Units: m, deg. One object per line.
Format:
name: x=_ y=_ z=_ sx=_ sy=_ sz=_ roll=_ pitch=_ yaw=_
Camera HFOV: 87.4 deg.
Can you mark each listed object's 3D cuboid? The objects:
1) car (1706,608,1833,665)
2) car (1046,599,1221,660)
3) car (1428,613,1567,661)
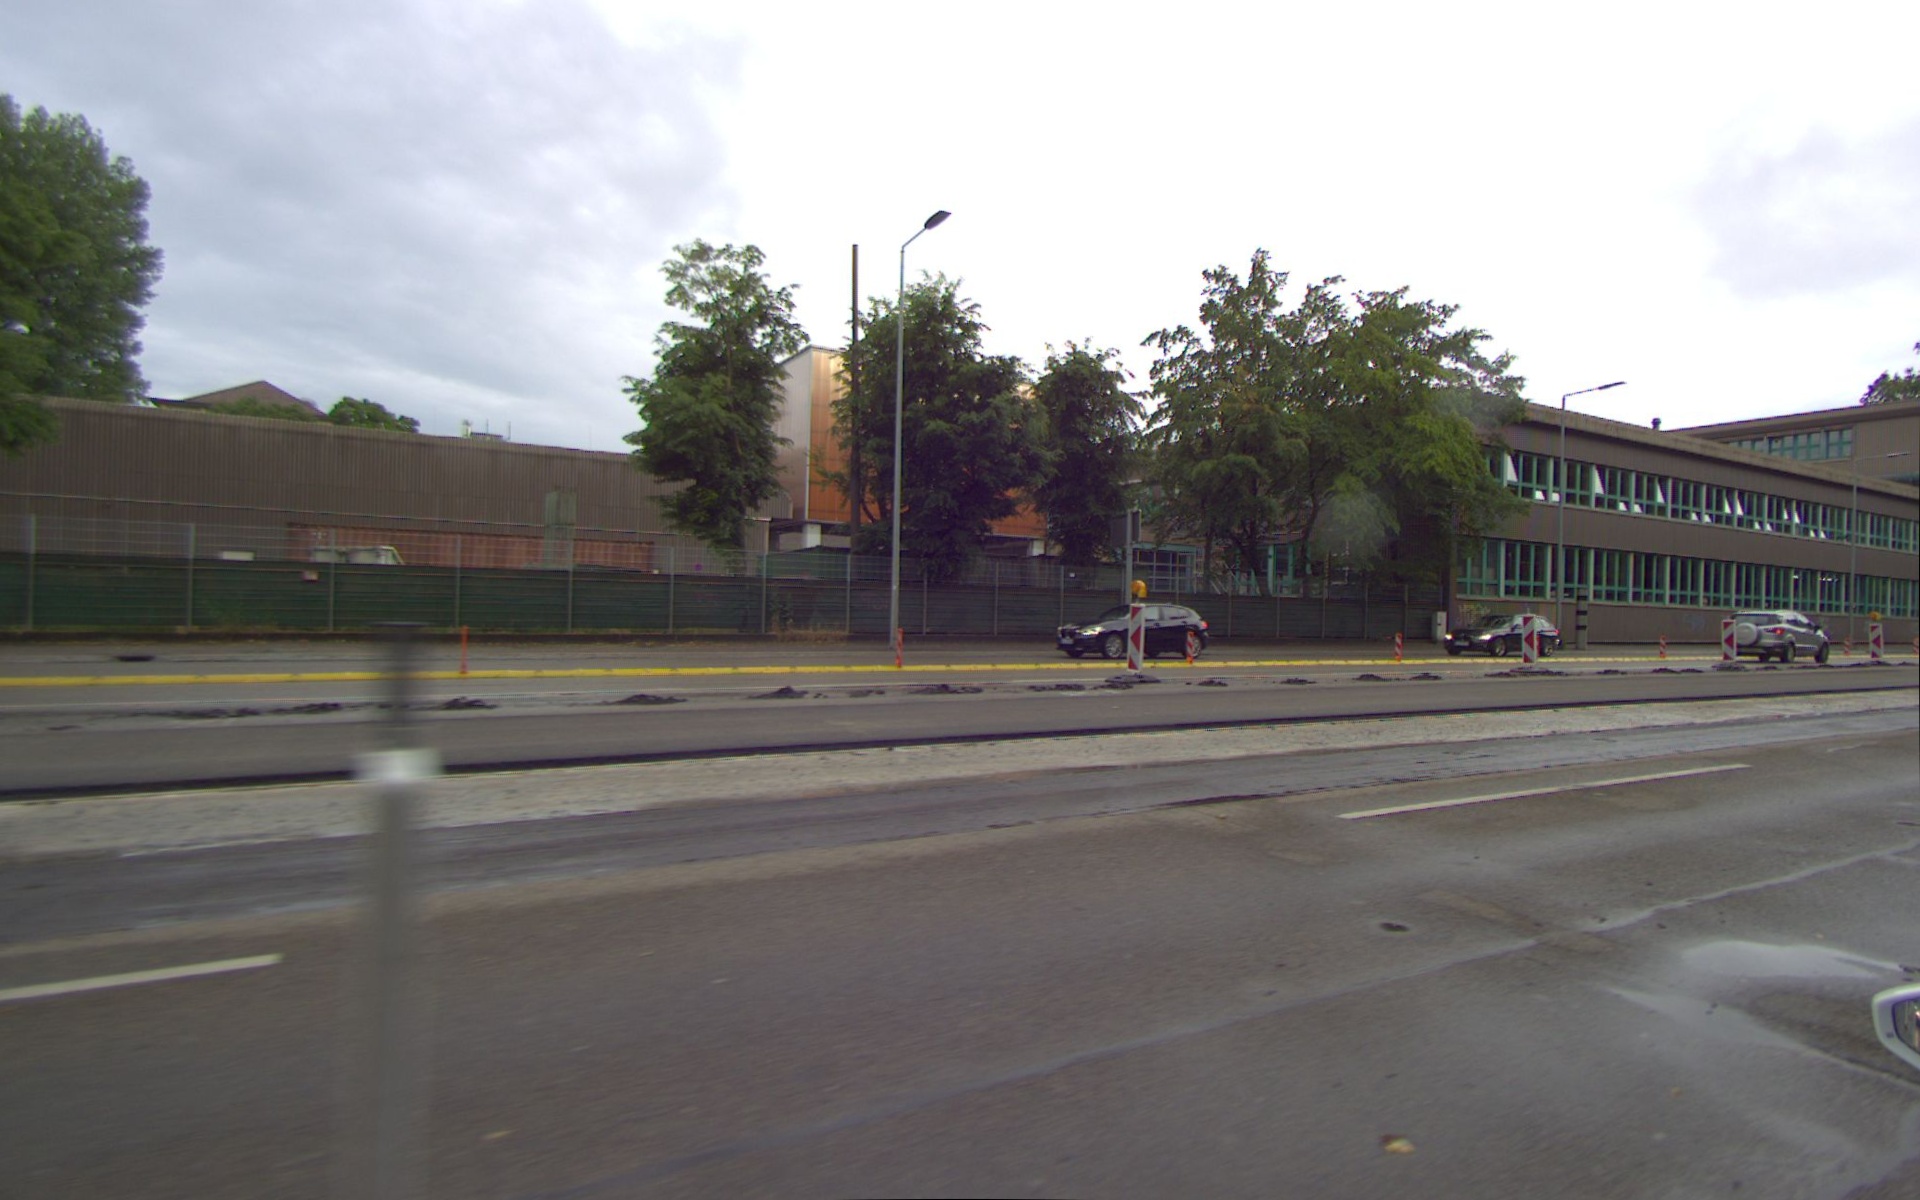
car: x=25.732 y=1.162 z=31.910 sx=3.953 sy=1.670 sz=1.845 roll=2 pitch=1 yaw=-30
car: x=4.539 y=0.747 z=26.101 sx=4.217 sy=1.448 sz=1.983 roll=1 pitch=1 yaw=-32
car: x=18.508 y=1.268 z=34.564 sx=4.709 sy=1.473 sz=2.036 roll=2 pitch=1 yaw=-30
